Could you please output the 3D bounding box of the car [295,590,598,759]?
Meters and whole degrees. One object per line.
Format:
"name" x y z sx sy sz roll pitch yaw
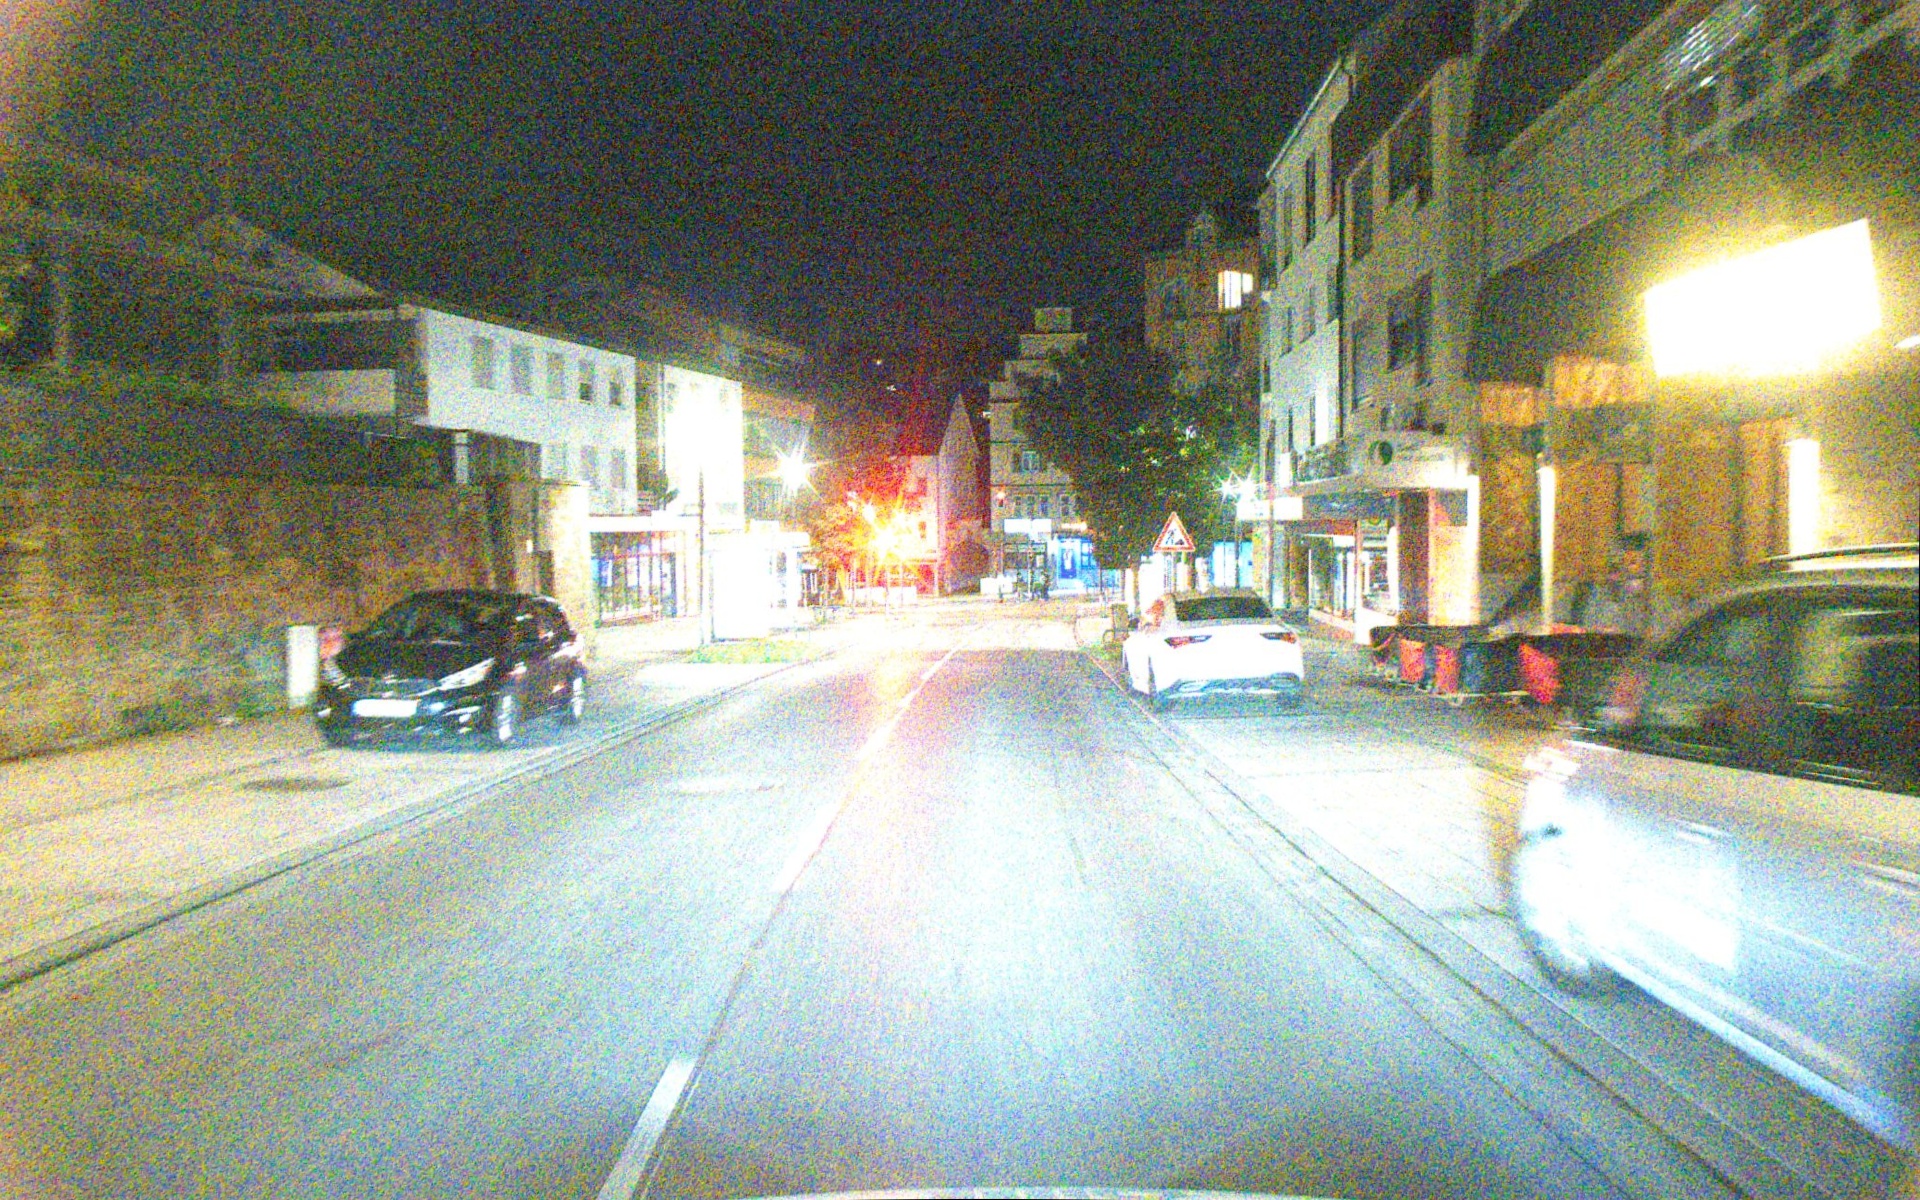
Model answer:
"car" -5.031 0.649 16.821 1.657 1.462 4.129 1 0 2

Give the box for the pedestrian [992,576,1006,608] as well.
"pedestrian" 2.253 -0.467 96.094 0.700 1.827 0.570 0 -1 11

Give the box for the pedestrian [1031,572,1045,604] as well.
"pedestrian" 4.579 -0.699 97.163 0.561 1.827 0.711 1 -1 -28

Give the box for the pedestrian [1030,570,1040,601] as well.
"pedestrian" 4.516 -0.851 99.477 0.556 1.827 0.718 0 -1 2

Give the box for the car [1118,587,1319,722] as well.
"car" 3.151 0.612 21.055 1.819 1.467 4.594 -2 0 0

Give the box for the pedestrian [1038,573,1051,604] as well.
"pedestrian" 4.948 -0.659 96.600 0.719 1.827 0.719 0 -1 8

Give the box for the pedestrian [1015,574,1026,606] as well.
"pedestrian" 3.554 -0.583 97.414 0.556 1.827 0.718 0 -1 -2

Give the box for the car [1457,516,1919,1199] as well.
"car" 3.036 0.606 4.881 1.750 1.670 4.379 -2 0 0

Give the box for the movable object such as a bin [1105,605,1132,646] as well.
"movable object such as a bin" 3.694 0.591 38.577 0.514 0.953 0.628 1 -1 -7
